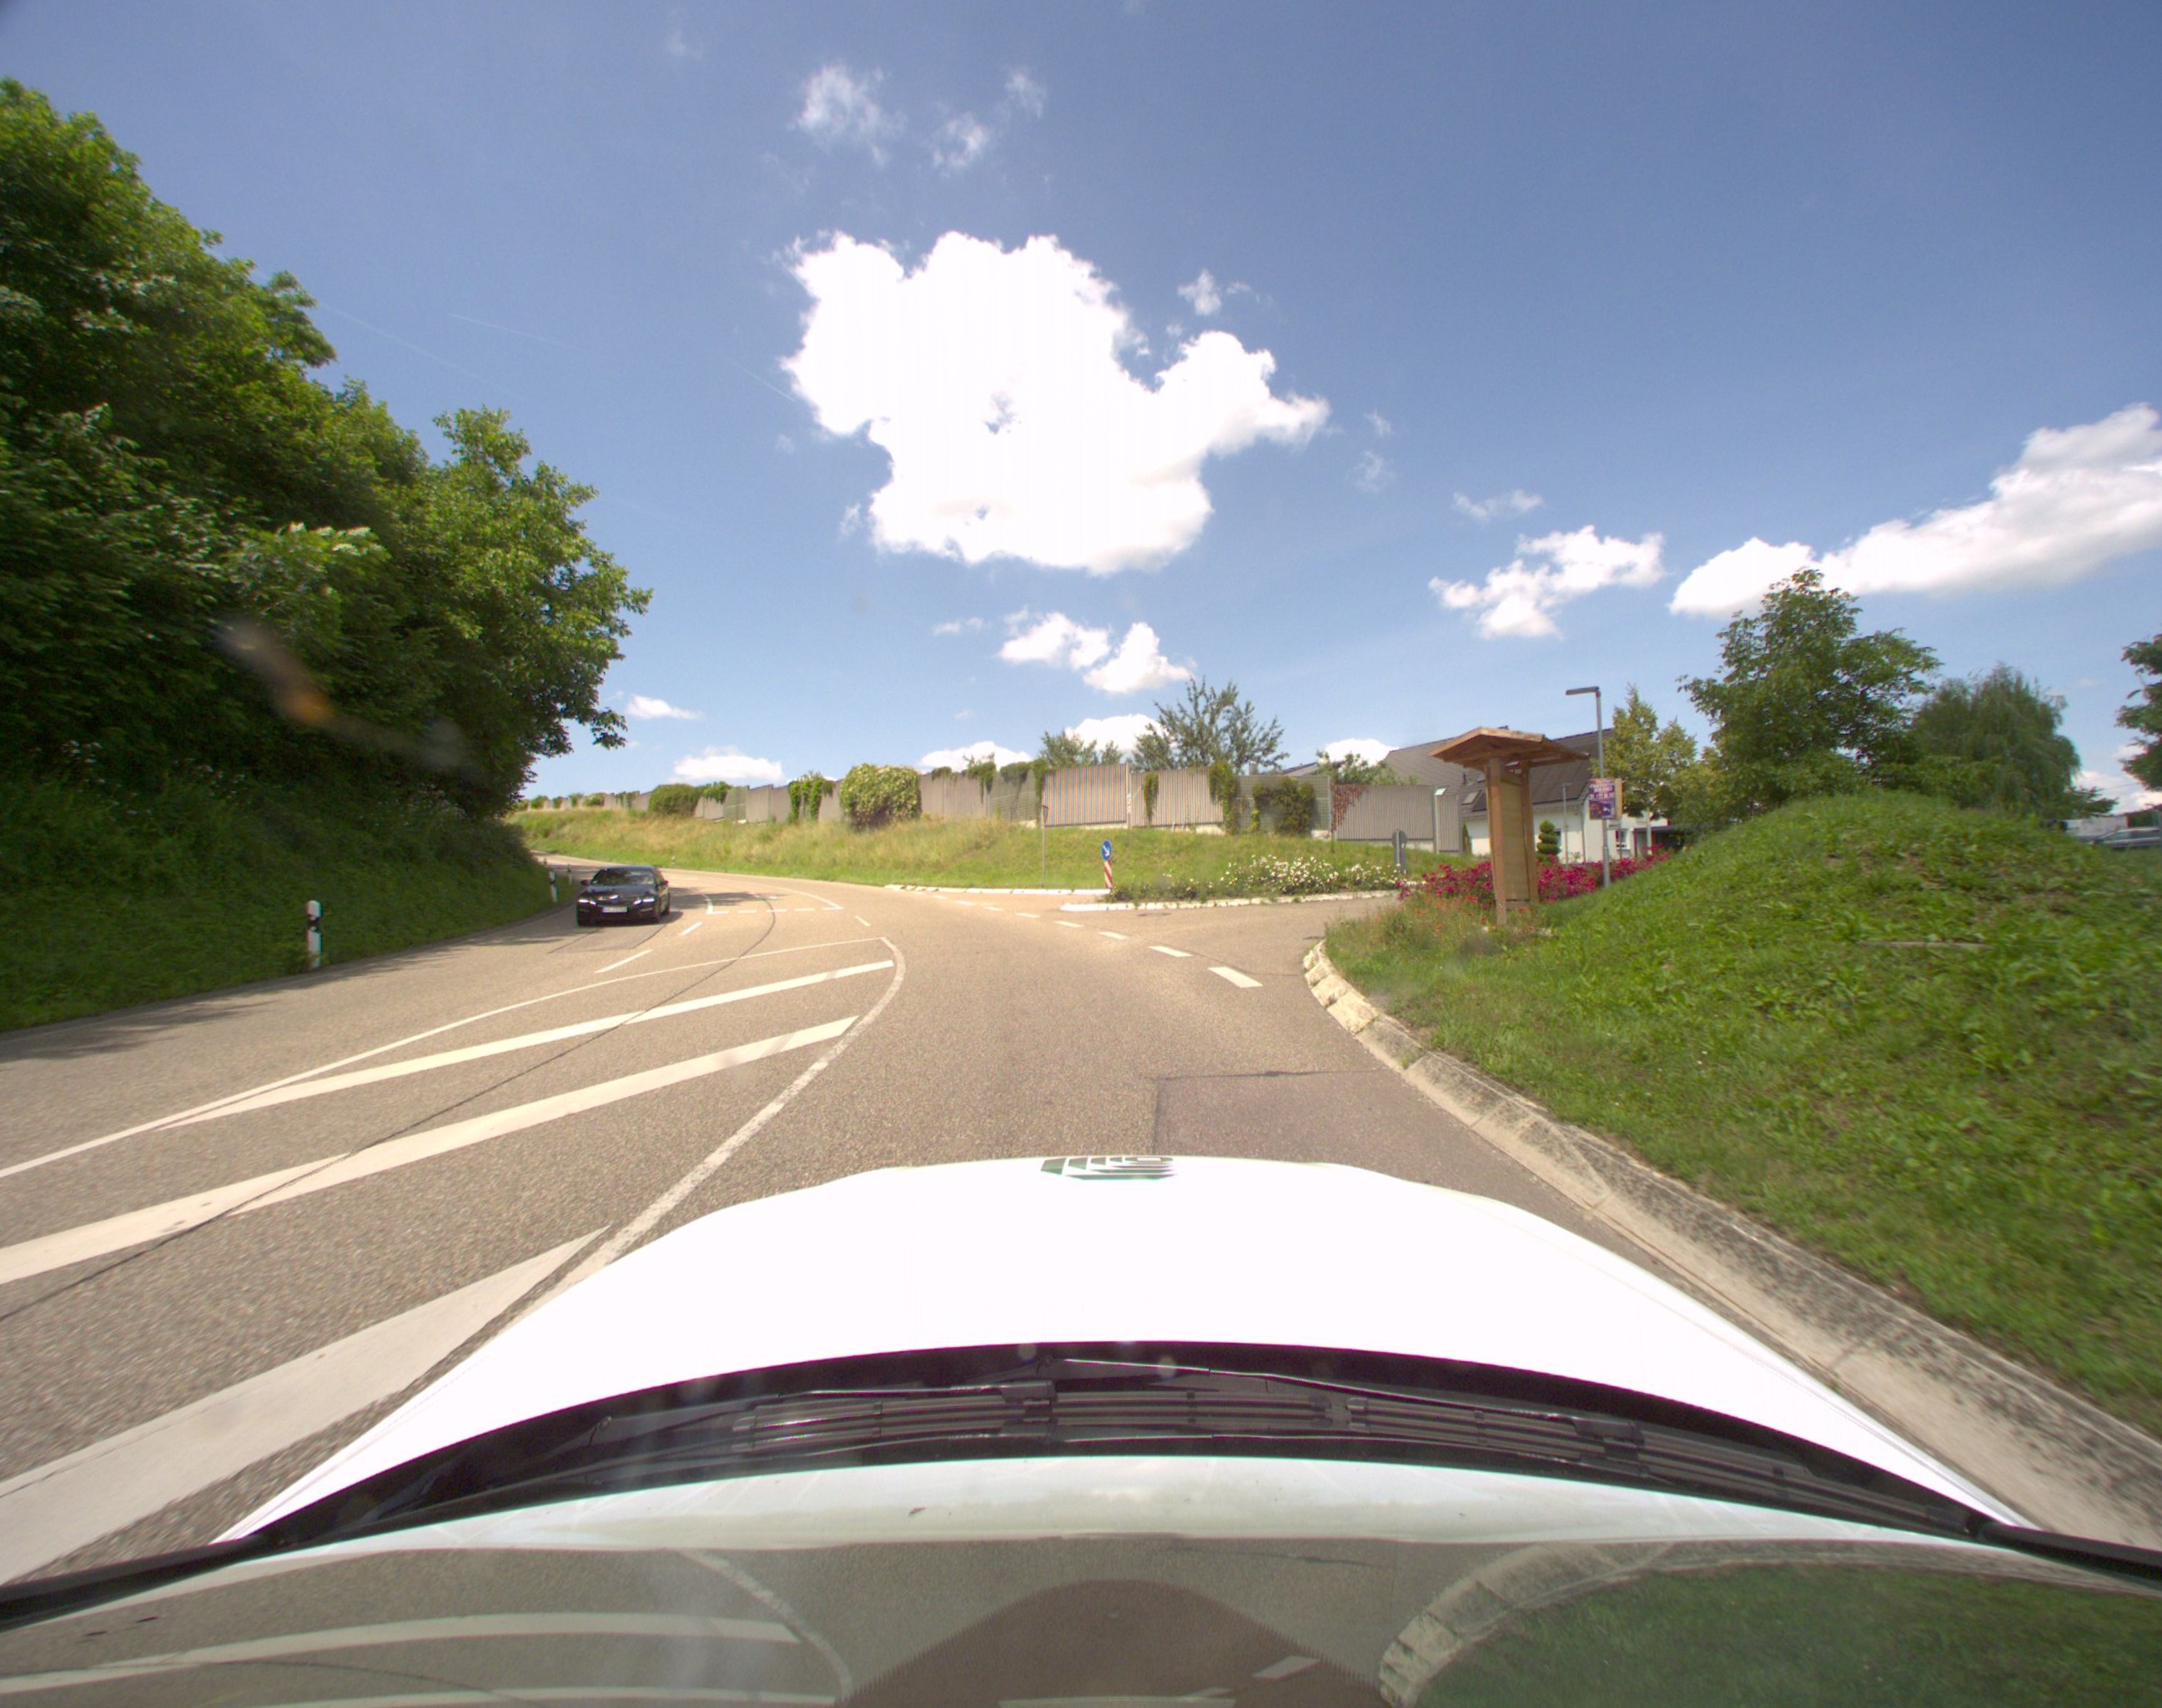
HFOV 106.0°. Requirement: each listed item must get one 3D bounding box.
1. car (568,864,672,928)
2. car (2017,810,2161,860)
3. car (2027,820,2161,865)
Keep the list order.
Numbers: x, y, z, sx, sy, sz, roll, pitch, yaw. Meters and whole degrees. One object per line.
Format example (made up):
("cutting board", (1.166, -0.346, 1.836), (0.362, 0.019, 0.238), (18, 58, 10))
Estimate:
("car", (-11.818, 0.996, 21.137), (1.691, 1.419, 4.313), (-2, 0, -21))
("car", (40.577, -0.719, 31.857), (2.008, 1.769, 5.008), (4, -2, -34))
("car", (44.587, -0.469, 35.488), (2.008, 1.769, 4.183), (4, -2, -34))
